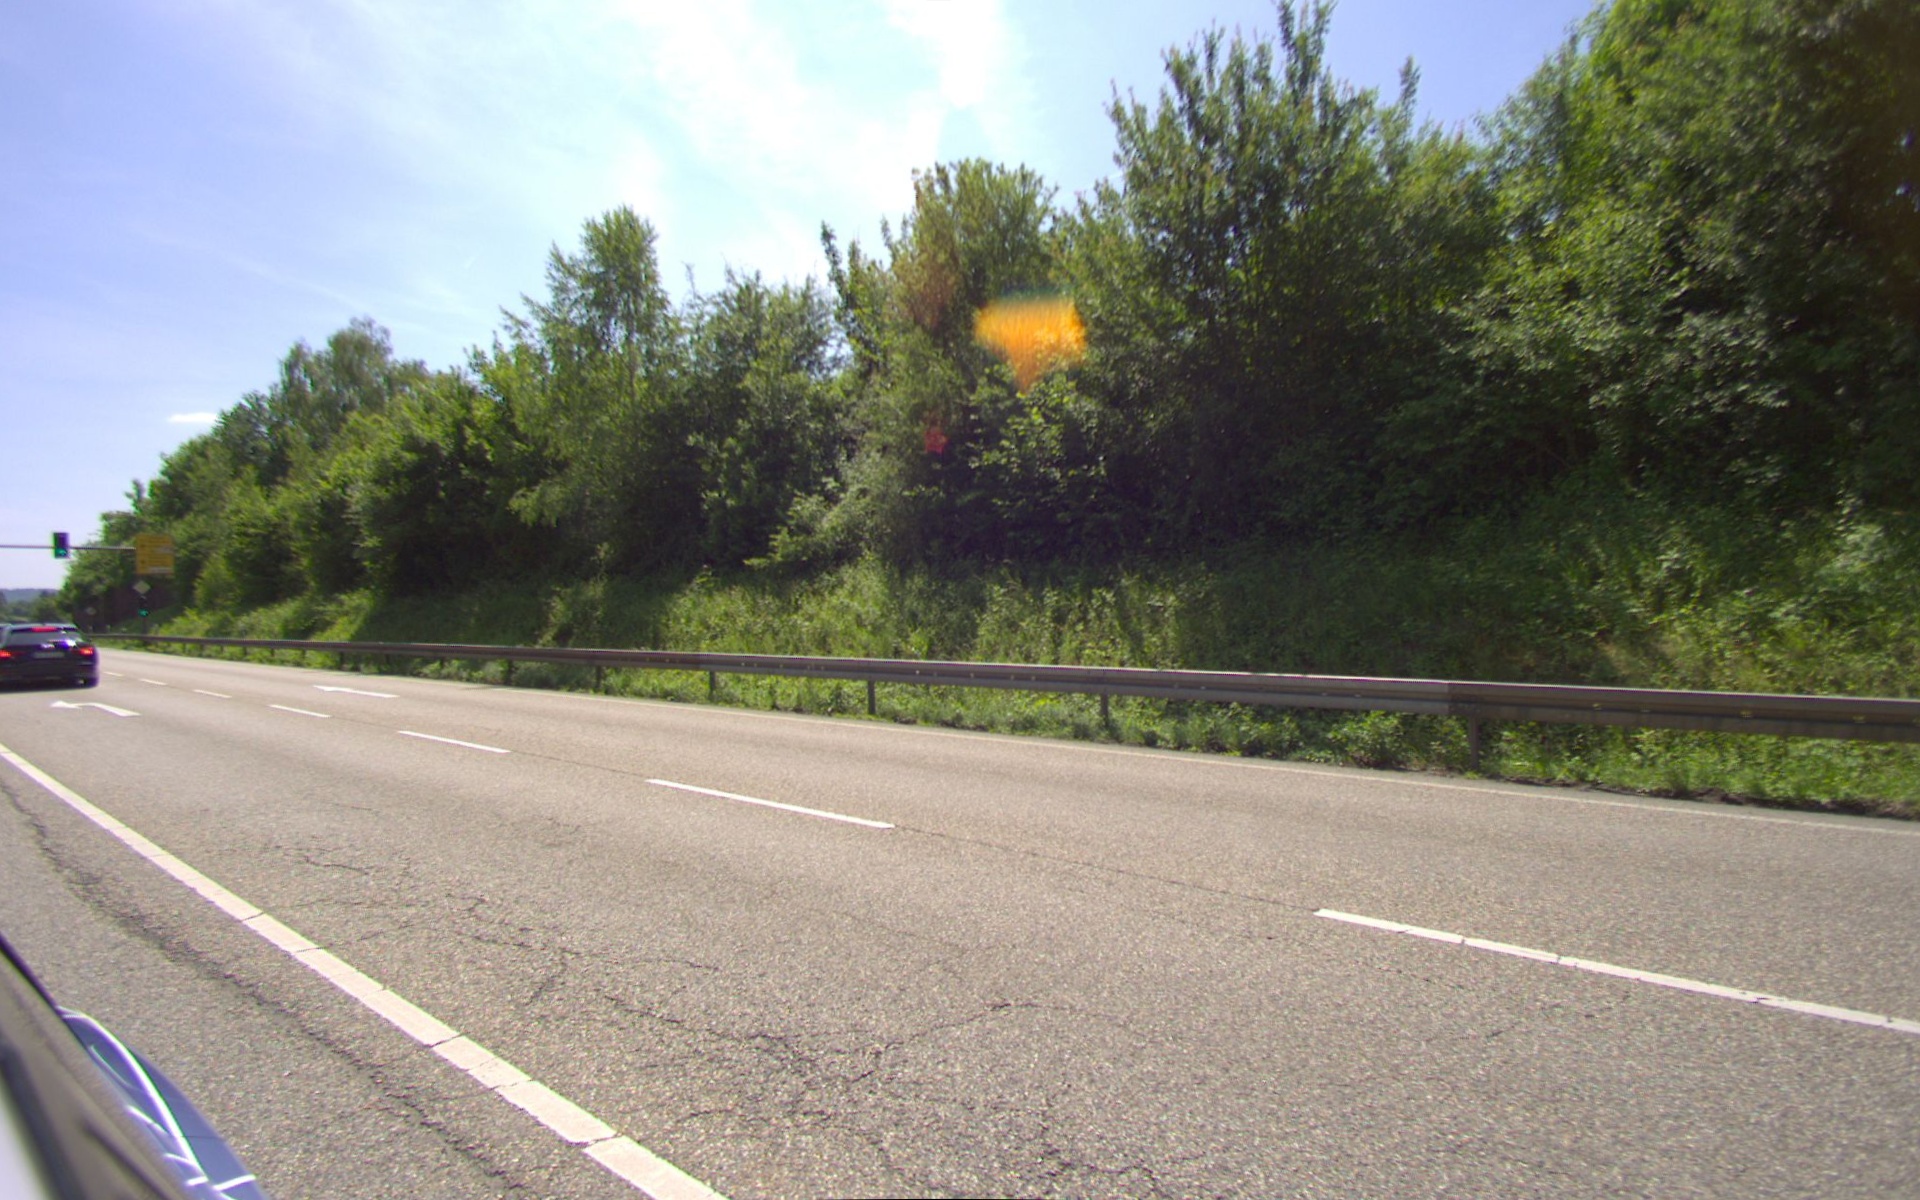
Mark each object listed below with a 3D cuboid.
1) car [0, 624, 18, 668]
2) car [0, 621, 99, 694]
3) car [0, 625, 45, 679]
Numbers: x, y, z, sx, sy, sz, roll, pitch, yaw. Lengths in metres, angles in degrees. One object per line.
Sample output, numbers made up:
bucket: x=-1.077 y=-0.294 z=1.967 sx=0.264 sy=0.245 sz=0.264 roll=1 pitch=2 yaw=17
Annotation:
car: x=-33.733 y=1.595 z=34.617 sx=4.638 sy=1.458 sz=1.763 roll=-2 pitch=-1 yaw=41
car: x=-21.104 y=1.256 z=23.041 sx=4.386 sy=1.464 sz=1.785 roll=-2 pitch=0 yaw=43
car: x=-27.241 y=1.464 z=28.761 sx=1.662 sy=1.425 sz=4.184 roll=0 pitch=-2 yaw=-45
